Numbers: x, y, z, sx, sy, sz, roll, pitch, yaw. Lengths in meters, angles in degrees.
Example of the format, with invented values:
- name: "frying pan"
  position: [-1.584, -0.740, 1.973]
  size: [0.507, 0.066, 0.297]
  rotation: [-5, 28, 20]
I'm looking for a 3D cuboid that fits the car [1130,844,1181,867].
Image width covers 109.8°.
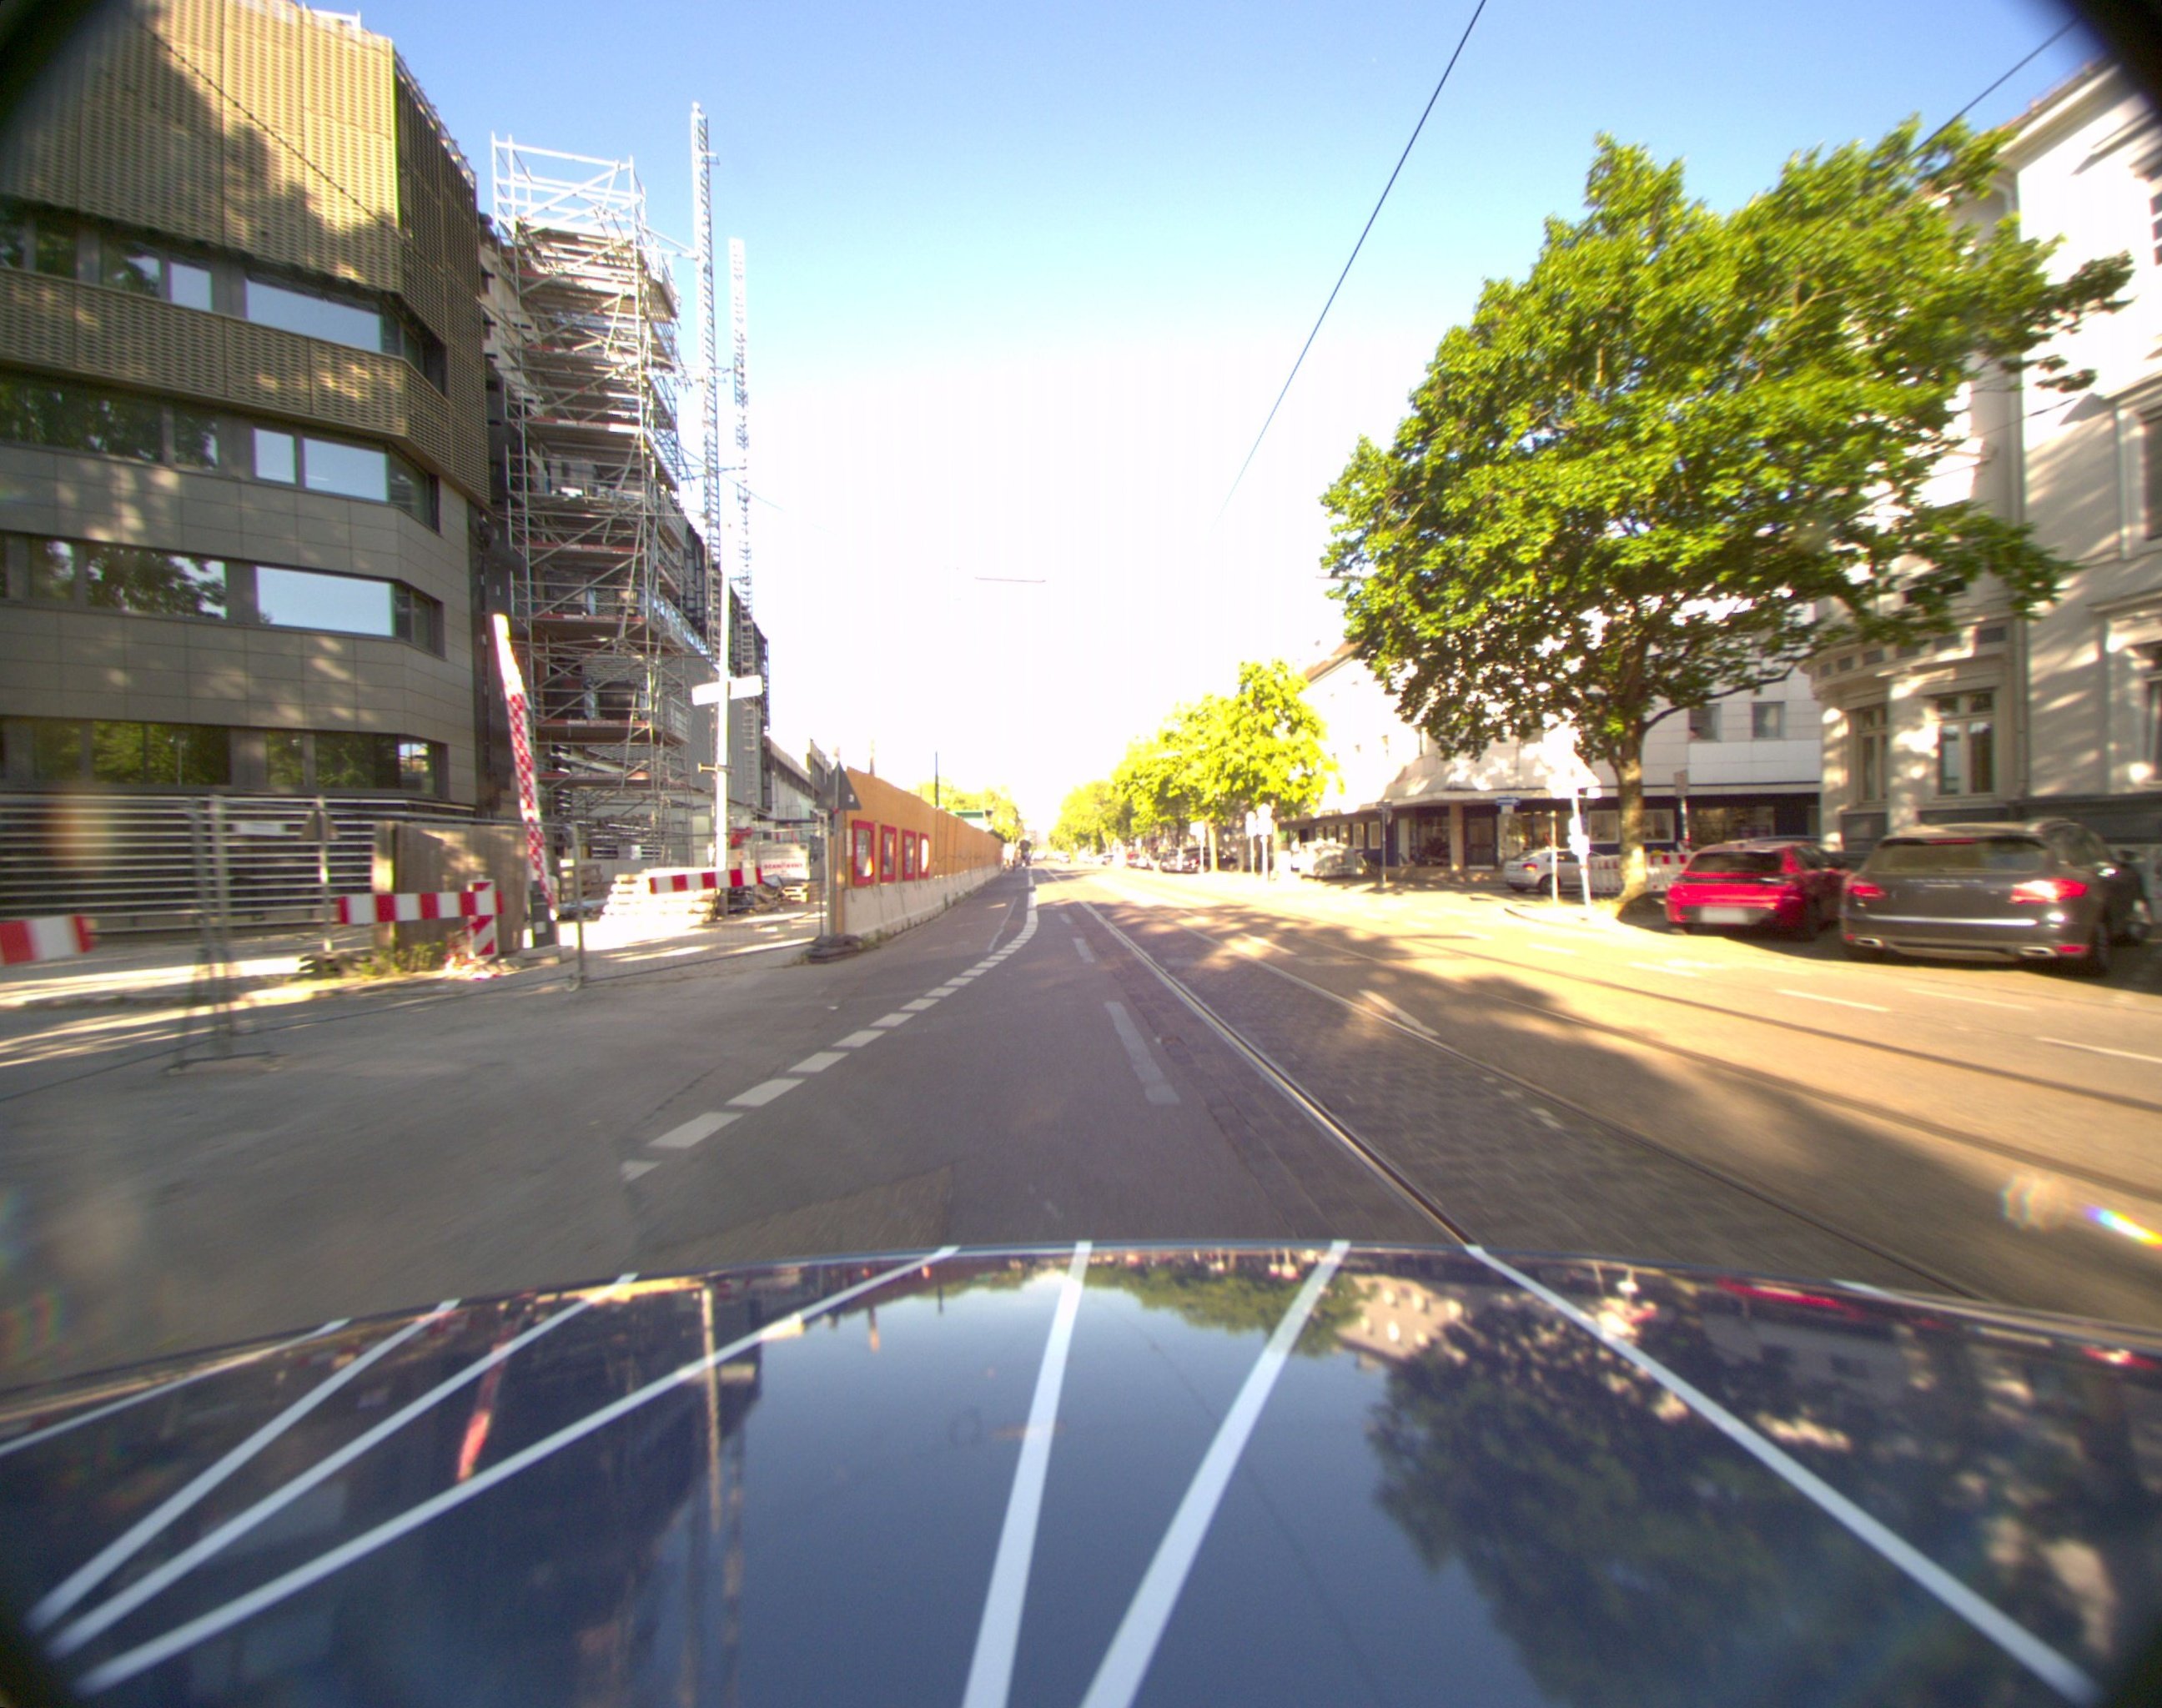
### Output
- name: "car"
  position: [6.689, 0.133, 68.351]
  size: [4.102, 1.768, 1.671]
  rotation: [-4, 1, -9]

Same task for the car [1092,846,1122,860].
- name: "car"
  position: [3.486, -0.141, 103.203]
  size: [3.773, 1.584, 1.671]
  rotation: [-4, 1, -9]

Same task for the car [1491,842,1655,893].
- name: "car"
  position: [15.402, 0.400, 23.945]
  size: [3.997, 1.477, 1.781]
  rotation: [-1, 1, 1]

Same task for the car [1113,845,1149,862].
- name: "car"
  position: [5.709, -0.075, 87.401]
  size: [3.773, 1.584, 1.671]
  rotation: [-4, 1, -9]

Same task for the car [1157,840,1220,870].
- name: "car"
  position: [8.112, 0.077, 57.429]
  size: [4.308, 1.940, 1.671]
  rotation: [-4, 1, -9]

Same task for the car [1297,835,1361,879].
- name: "car"
  position: [11.189, 0.122, 34.442]
  size: [1.672, 1.887, 3.213]
  rotation: [-1, 1, -3]

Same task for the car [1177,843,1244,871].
- name: "car"
  position: [8.837, 0.188, 51.968]
  size: [4.102, 1.561, 1.671]
  rotation: [-4, 1, -9]

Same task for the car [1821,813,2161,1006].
- name: "car"
  position: [11.290, 0.487, 9.222]
  size: [4.364, 1.704, 1.944]
  rotation: [-5, 2, -26]

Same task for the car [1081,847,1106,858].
- name: "car"
  position: [2.016, -0.315, 122.866]
  size: [3.622, 1.492, 1.503]
  rotation: [-4, 1, -9]

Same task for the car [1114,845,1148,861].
- name: "car"
  position: [5.951, -0.149, 90.799]
  size: [3.773, 1.584, 1.671]
  rotation: [-4, 1, -9]

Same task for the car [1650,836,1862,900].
- name: "car"
  position: [17.287, 0.336, 19.584]
  size: [3.998, 1.477, 1.781]
  rotation: [-1, 1, -3]

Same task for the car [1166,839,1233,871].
- name: "car"
  position: [8.514, 0.080, 54.708]
  size: [4.308, 1.940, 1.671]
  rotation: [-4, 1, -9]

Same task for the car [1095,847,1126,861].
- name: "car"
  position: [3.850, 0.024, 99.804]
  size: [3.773, 1.584, 1.671]
  rotation: [-4, 1, -9]

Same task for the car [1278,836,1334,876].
- name: "car"
  position: [11.274, 0.089, 38.205]
  size: [1.672, 1.887, 3.213]
  rotation: [-1, 1, -3]

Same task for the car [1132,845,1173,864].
- name: "car"
  position: [7.256, 0.028, 77.116]
  size: [3.773, 1.584, 1.671]
  rotation: [-4, 1, -9]

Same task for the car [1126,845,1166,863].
- name: "car"
  position: [6.792, 0.011, 79.412]
  size: [3.773, 1.584, 1.671]
  rotation: [-4, 1, -9]

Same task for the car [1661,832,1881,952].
- name: "car"
  position: [11.254, 0.504, 12.317]
  size: [4.006, 1.478, 1.777]
  rotation: [-4, 2, -35]

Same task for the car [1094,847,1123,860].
- name: "car"
  position: [3.884, -0.123, 108.926]
  size: [3.773, 1.584, 1.671]
  rotation: [-4, 1, -9]

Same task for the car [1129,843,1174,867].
- name: "car"
  position: [6.528, 0.093, 70.577]
  size: [3.806, 1.928, 1.671]
  rotation: [-4, 1, -9]

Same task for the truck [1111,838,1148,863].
- name: "truck"
  position: [5.403, -0.386, 84.614]
  size: [3.771, 2.409, 1.672]
  rotation: [-4, 1, -4]
